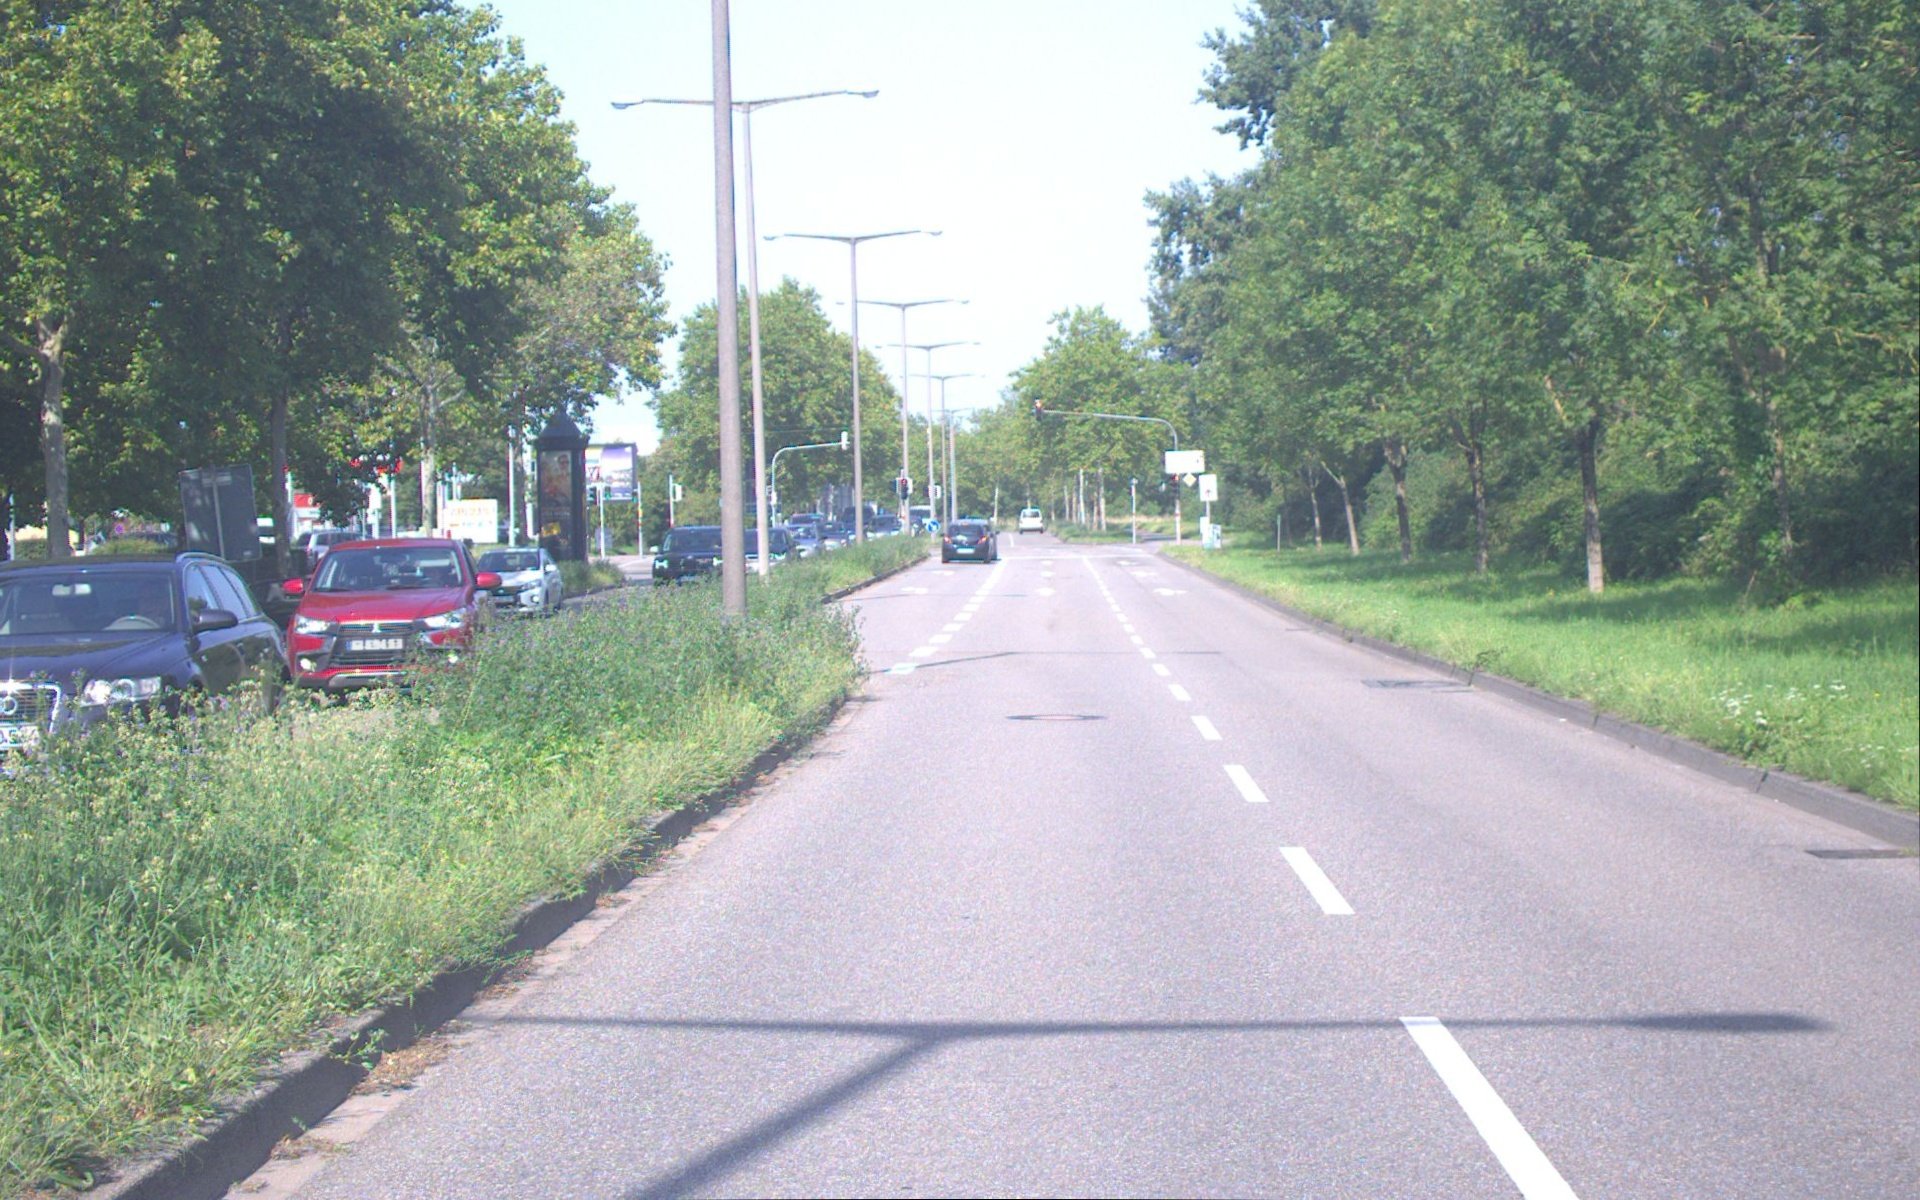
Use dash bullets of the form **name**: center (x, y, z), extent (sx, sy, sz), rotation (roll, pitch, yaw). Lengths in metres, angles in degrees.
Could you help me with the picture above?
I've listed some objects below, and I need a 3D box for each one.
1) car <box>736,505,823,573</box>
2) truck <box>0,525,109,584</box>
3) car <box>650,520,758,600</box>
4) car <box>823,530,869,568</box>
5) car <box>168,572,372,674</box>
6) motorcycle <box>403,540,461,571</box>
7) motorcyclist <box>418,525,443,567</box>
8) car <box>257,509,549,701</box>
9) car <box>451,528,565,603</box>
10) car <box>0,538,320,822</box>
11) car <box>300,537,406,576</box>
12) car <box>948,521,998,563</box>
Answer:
- **car**: center (-5.042, -1.703, 96.407), extent (1.993, 1.753, 4.307), rotation (-3, 1, 2)
- **truck**: center (-50.062, -2.360, 182.066), extent (8.986, 2.947, 3.514), rotation (-3, 1, -34)
- **car**: center (-6.051, -0.961, 81.752), extent (1.993, 1.753, 4.477), rotation (-3, 1, 2)
- **car**: center (-4.602, -2.069, 139.019), extent (1.676, 1.481, 3.493), rotation (0, 1, 1)
- **car**: center (-9.714, 0.293, 48.688), extent (1.791, 1.258, 4.095), rotation (-2, 1, 4)
- **motorcycle**: center (-19.839, -1.660, 129.159), extent (2.069, 1.132, 0.677), rotation (-1, 1, -34)
- **motorcyclist**: center (-19.898, -2.037, 129.112), extent (0.681, 1.566, 0.683), rotation (-1, 1, -34)
- **car**: center (-5.362, 0.002, 33.701), extent (1.954, 1.718, 4.587), rotation (-1, 1, 2)
- **car**: center (-9.304, -0.733, 71.020), extent (1.790, 1.477, 4.000), rotation (-1, 1, 0)
- **car**: center (-5.166, 0.411, 20.581), extent (1.746, 1.474, 4.587), rotation (-3, 1, 0)
- **car**: center (-23.048, -1.661, 130.587), extent (3.691, 1.438, 1.467), rotation (-1, 1, -34)
- **car**: center (0.480, -2.071, 122.610), extent (1.692, 1.481, 4.000), rotation (0, 1, 2)
